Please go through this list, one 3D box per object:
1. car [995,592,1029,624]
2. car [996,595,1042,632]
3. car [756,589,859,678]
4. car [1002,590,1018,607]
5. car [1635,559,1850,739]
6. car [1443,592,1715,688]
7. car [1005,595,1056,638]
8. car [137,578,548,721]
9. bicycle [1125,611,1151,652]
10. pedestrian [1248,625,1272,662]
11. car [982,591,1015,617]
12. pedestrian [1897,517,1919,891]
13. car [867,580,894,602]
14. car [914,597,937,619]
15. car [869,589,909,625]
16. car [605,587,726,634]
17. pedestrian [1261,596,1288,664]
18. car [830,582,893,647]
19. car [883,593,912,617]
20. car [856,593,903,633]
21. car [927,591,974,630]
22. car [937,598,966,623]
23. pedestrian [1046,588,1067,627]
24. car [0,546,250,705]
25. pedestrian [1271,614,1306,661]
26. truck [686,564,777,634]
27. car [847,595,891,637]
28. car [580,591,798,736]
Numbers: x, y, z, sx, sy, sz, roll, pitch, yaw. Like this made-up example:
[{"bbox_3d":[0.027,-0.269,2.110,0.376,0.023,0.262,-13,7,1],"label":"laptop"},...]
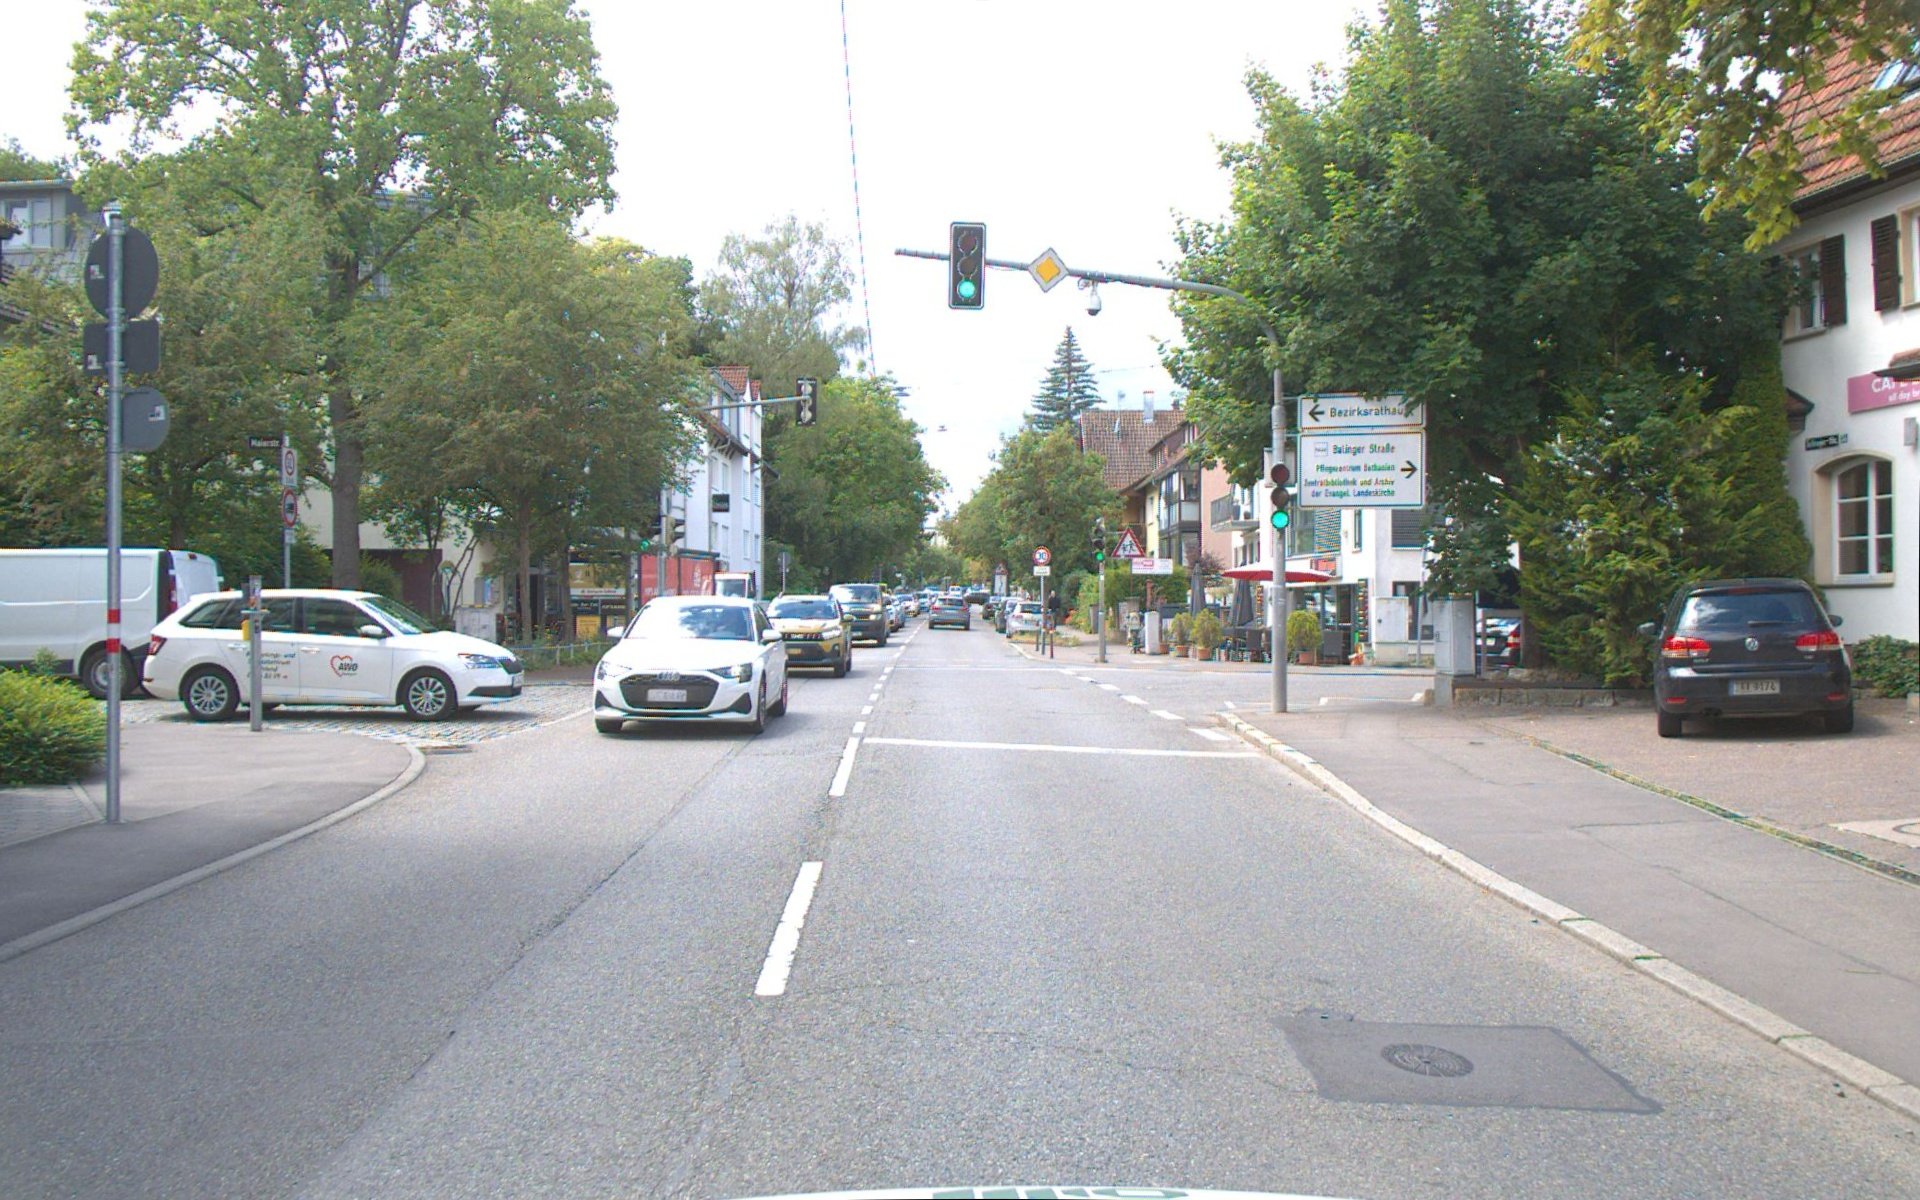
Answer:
[{"bbox_3d":[2.608,0.393,83.419,1.588,1.534,3.779,0,0,-1],"label":"car"},{"bbox_3d":[2.539,0.563,72.111,1.699,1.453,4.882,3,1,0],"label":"car"},{"bbox_3d":[-2.872,0.589,31.852,1.693,1.565,3.999,0,1,-2],"label":"car"},{"bbox_3d":[6.108,-0.228,202.310,1.952,2.049,4.000,0,0,1],"label":"car"},{"bbox_3d":[8.025,0.424,17.187,1.716,1.543,4.078,-4,0,23],"label":"car"},{"bbox_3d":[10.395,0.635,27.822,4.105,1.440,1.771,-1,1,-17],"label":"car"},{"bbox_3d":[2.675,0.594,63.592,1.666,1.506,4.872,2,1,0],"label":"car"},{"bbox_3d":[-7.130,0.540,19.415,4.126,1.540,1.822,1,1,-1],"label":"car"},{"bbox_3d":[5.143,0.895,47.883,0.705,1.170,2.214,0,0,5],"label":"bicycle"},{"bbox_3d":[7.899,1.135,43.574,0.412,0.954,0.494,1,-1,-21],"label":"pedestrian"},{"bbox_3d":[2.363,0.253,102.369,1.765,1.470,4.886,2,0,-1],"label":"car"},{"bbox_3d":[5.143,0.506,8.209,0.729,1.813,0.895,0,0,39],"label":"pedestrian"},{"bbox_3d":[-7.539,-0.852,156.942,2.101,2.015,4.932,0,0,2],"label":"car"},{"bbox_3d":[-2.809,0.659,134.335,1.749,1.676,4.490,-2,1,0],"label":"car"},{"bbox_3d":[-3.291,0.310,77.042,1.693,1.529,4.375,-2,1,-1],"label":"car"},{"bbox_3d":[-9.436,0.337,53.195,3.620,1.450,1.803,1,0,-4],"label":"car"},{"bbox_3d":[8.338,0.798,43.853,0.421,1.793,0.671,1,-1,-21],"label":"pedestrian"},{"bbox_3d":[-3.037,0.421,51.822,1.839,1.946,4.749,1,0,-2],"label":"car"},{"bbox_3d":[-3.992,0.310,106.485,1.724,1.464,3.970,-2,1,-1],"label":"car"},{"bbox_3d":[-3.353,0.522,69.441,1.769,1.598,4.159,-2,0,-1],"label":"car"},{"bbox_3d":[-0.404,0.435,73.874,1.936,1.539,4.267,3,0,0],"label":"car"},{"bbox_3d":[-0.540,0.676,110.461,1.778,1.527,4.267,1,1,1],"label":"car"},{"bbox_3d":[4.357,0.354,74.689,0.862,1.742,0.842,0,-1,1],"label":"pedestrian"},{"bbox_3d":[-12.388,0.322,22.492,4.529,2.044,2.094,1,0,-4],"label":"car"},{"bbox_3d":[7.796,0.885,39.237,0.559,1.108,0.629,1,-1,-26],"label":"pedestrian"},{"bbox_3d":[-8.275,-0.022,60.519,2.178,2.421,6.327,0,0,2],"label":"truck"},{"bbox_3d":[-3.403,0.586,62.214,1.585,1.512,3.811,0,0,-3],"label":"car"},{"bbox_3d":[-2.928,0.632,18.700,1.836,1.449,4.114,0,0,-1],"label":"car"}]
